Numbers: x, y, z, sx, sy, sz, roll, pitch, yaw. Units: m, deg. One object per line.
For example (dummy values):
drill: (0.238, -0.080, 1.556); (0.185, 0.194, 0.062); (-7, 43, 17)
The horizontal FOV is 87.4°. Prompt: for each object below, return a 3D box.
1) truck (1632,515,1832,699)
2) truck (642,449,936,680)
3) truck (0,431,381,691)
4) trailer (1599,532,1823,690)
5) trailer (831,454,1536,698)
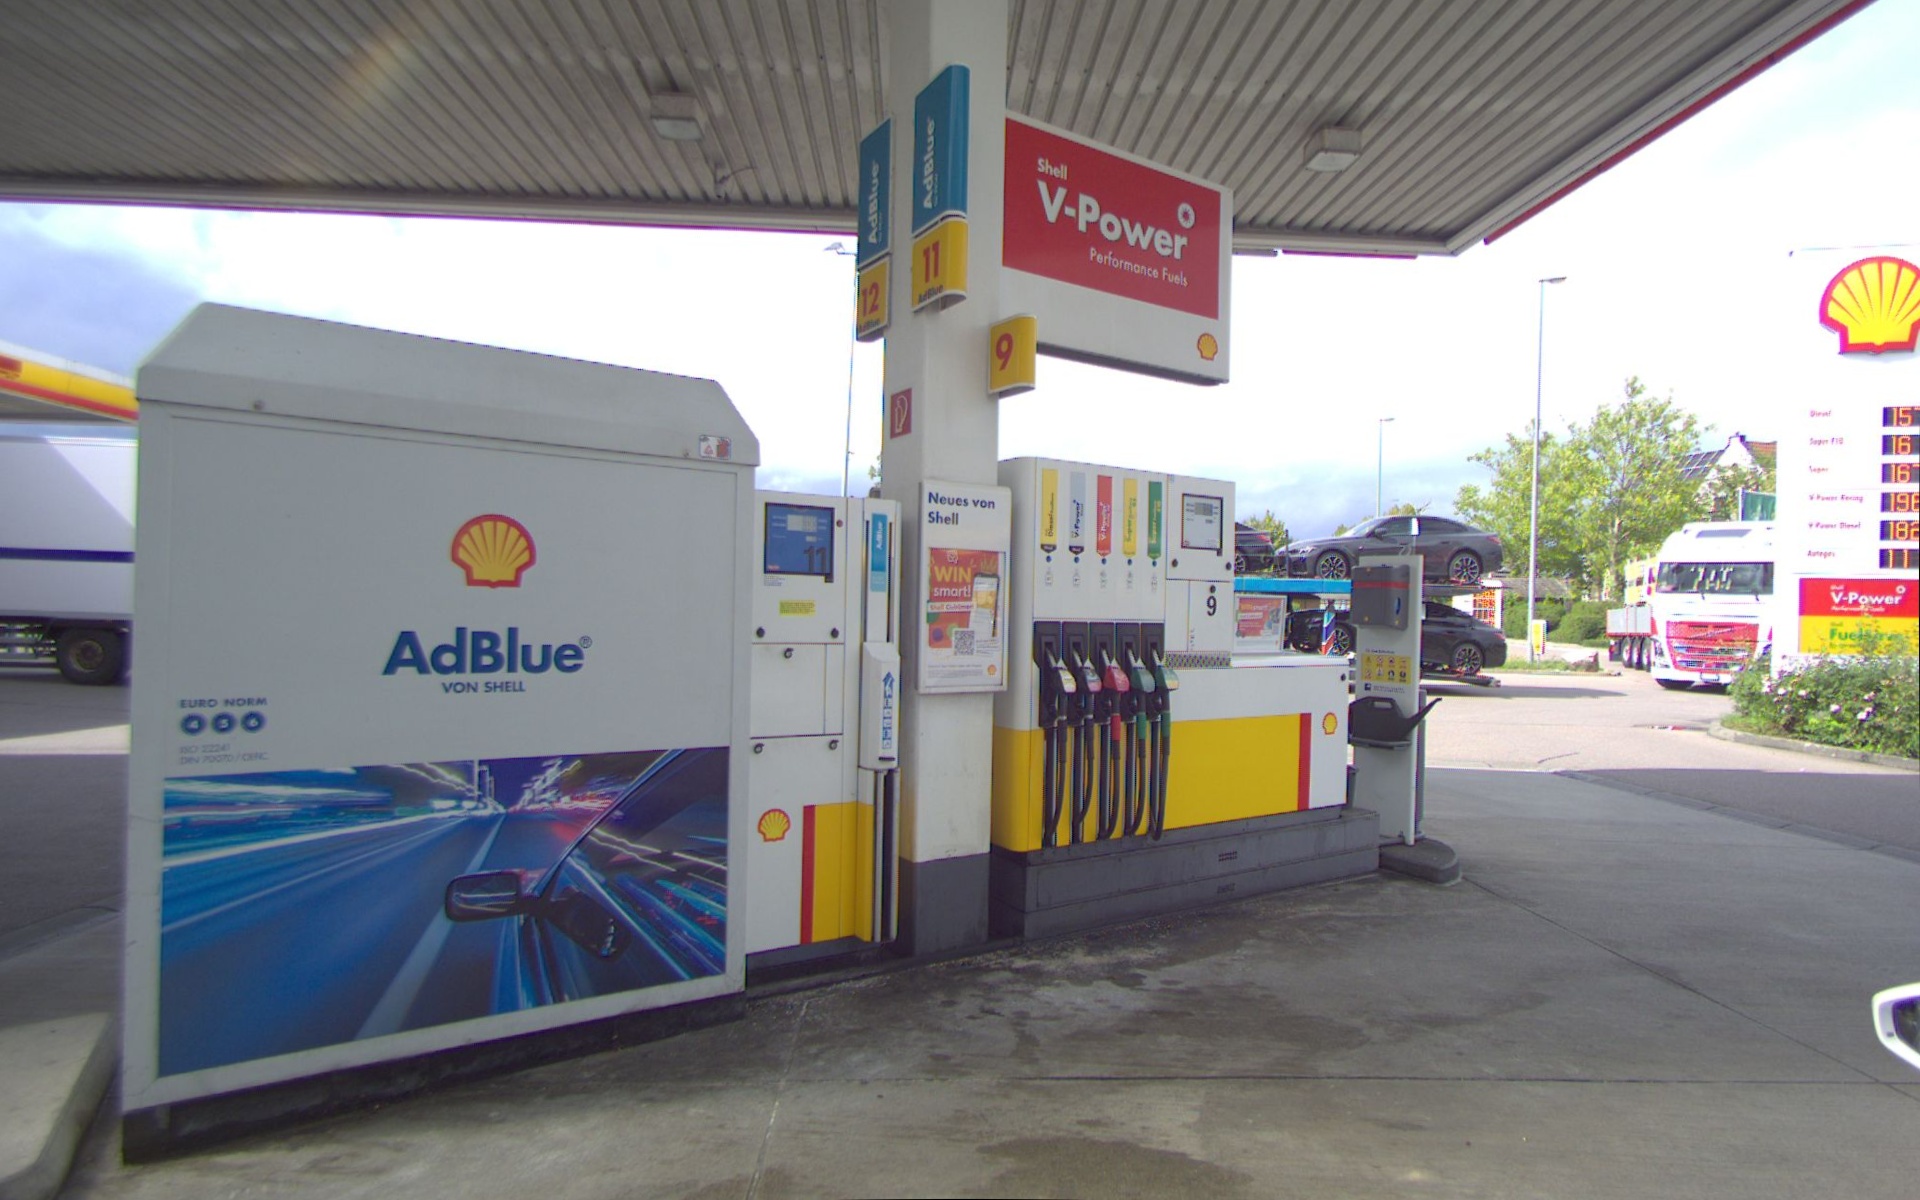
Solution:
truck: (18.757, 0.201, 24.290); (5.874, 3.897, 2.708); (2, 0, -42)
truck: (-3.465, -0.705, 21.549); (5.713, 4.479, 2.750); (2, 0, 0)
truck: (-17.316, -0.740, 17.503); (12.654, 4.092, 2.534); (2, 0, -3)
trailer: (22.258, 0.340, 30.724); (2.687, 3.826, 12.704); (2, 0, 24)
trailer: (4.510, -0.469, 21.588); (14.077, 4.481, 2.746); (2, 0, 0)
